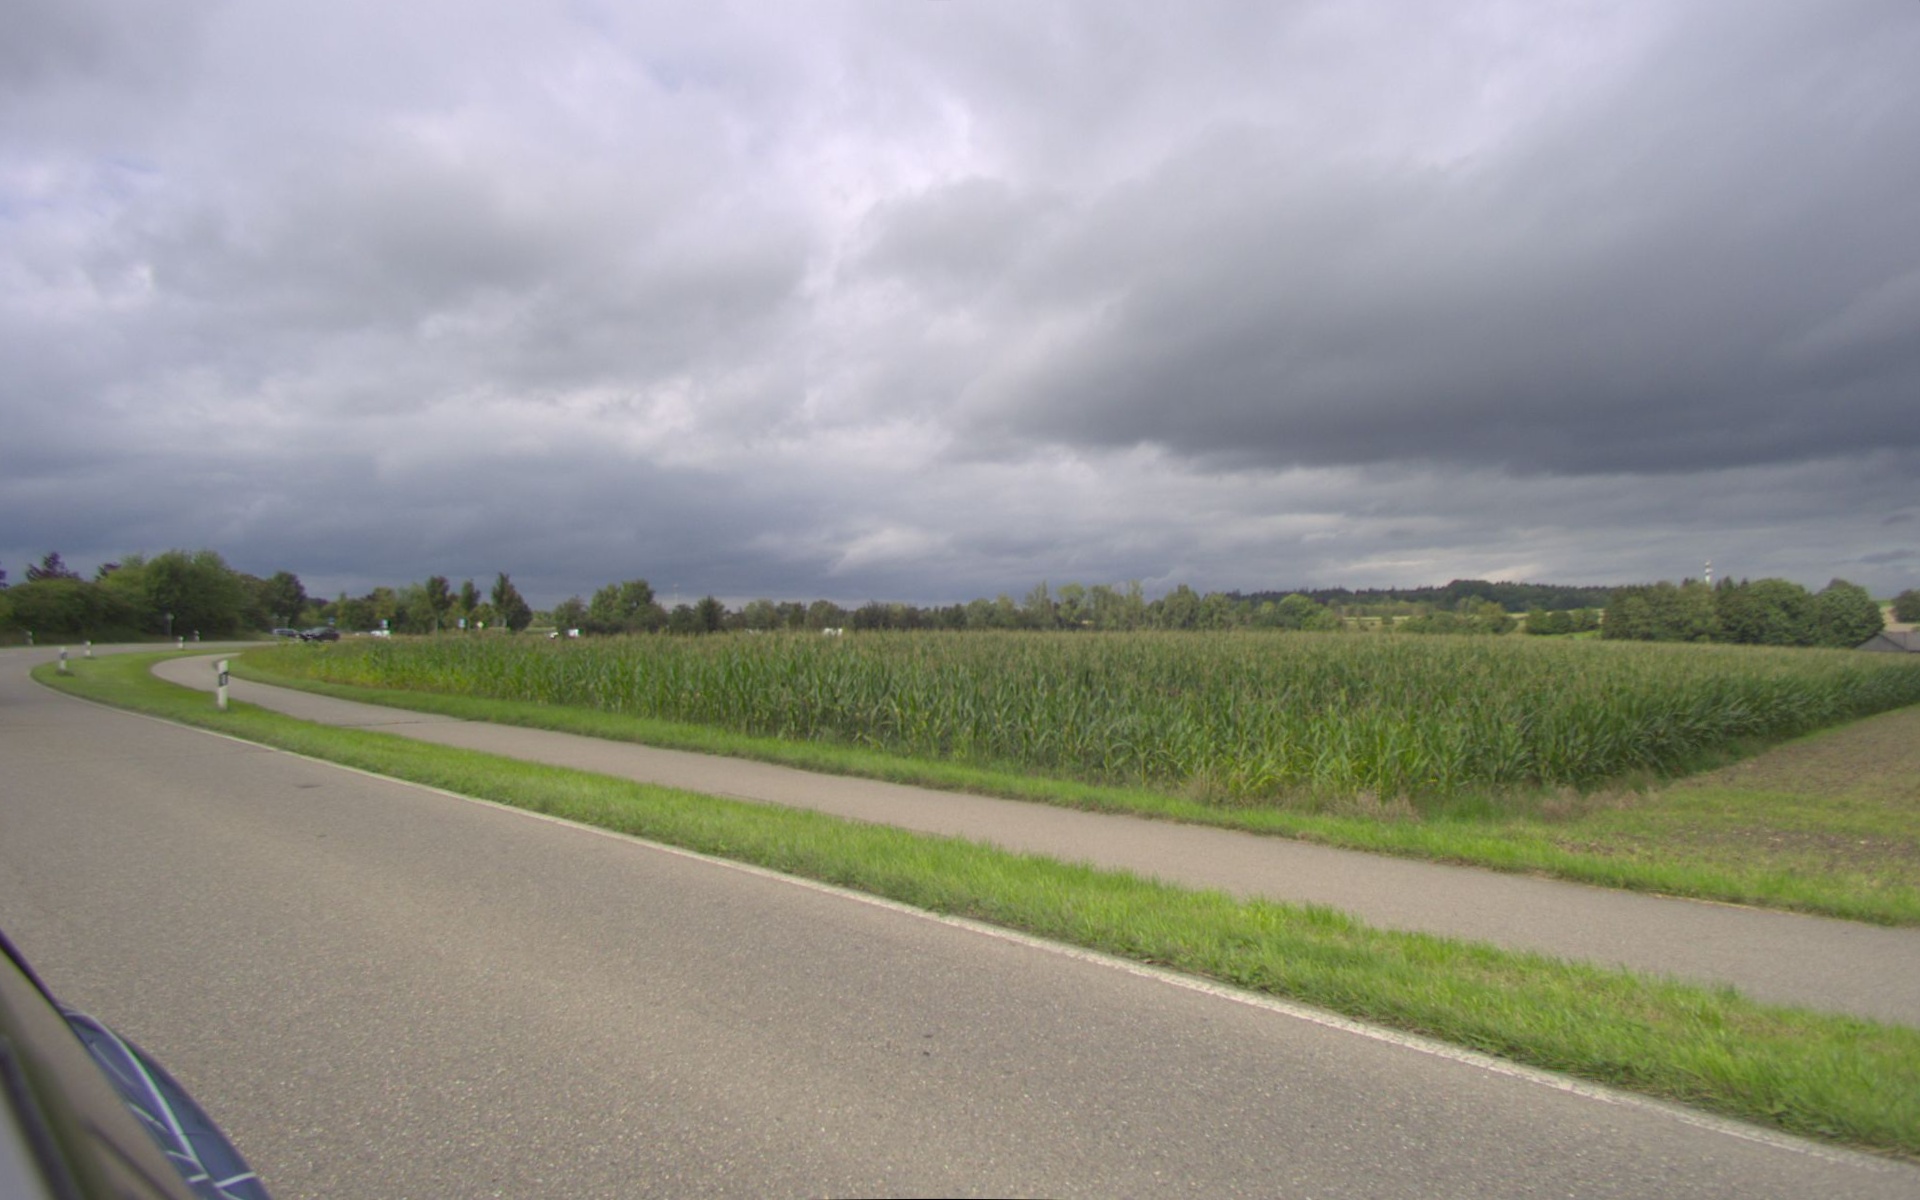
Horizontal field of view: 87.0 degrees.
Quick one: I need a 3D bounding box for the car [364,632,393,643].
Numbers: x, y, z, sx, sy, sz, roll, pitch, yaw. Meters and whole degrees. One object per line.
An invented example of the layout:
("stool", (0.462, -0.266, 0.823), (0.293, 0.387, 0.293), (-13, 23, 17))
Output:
("car", (-101.848, 6.504, 177.314), (3.936, 1.874, 2.004), (1, -2, -9))
